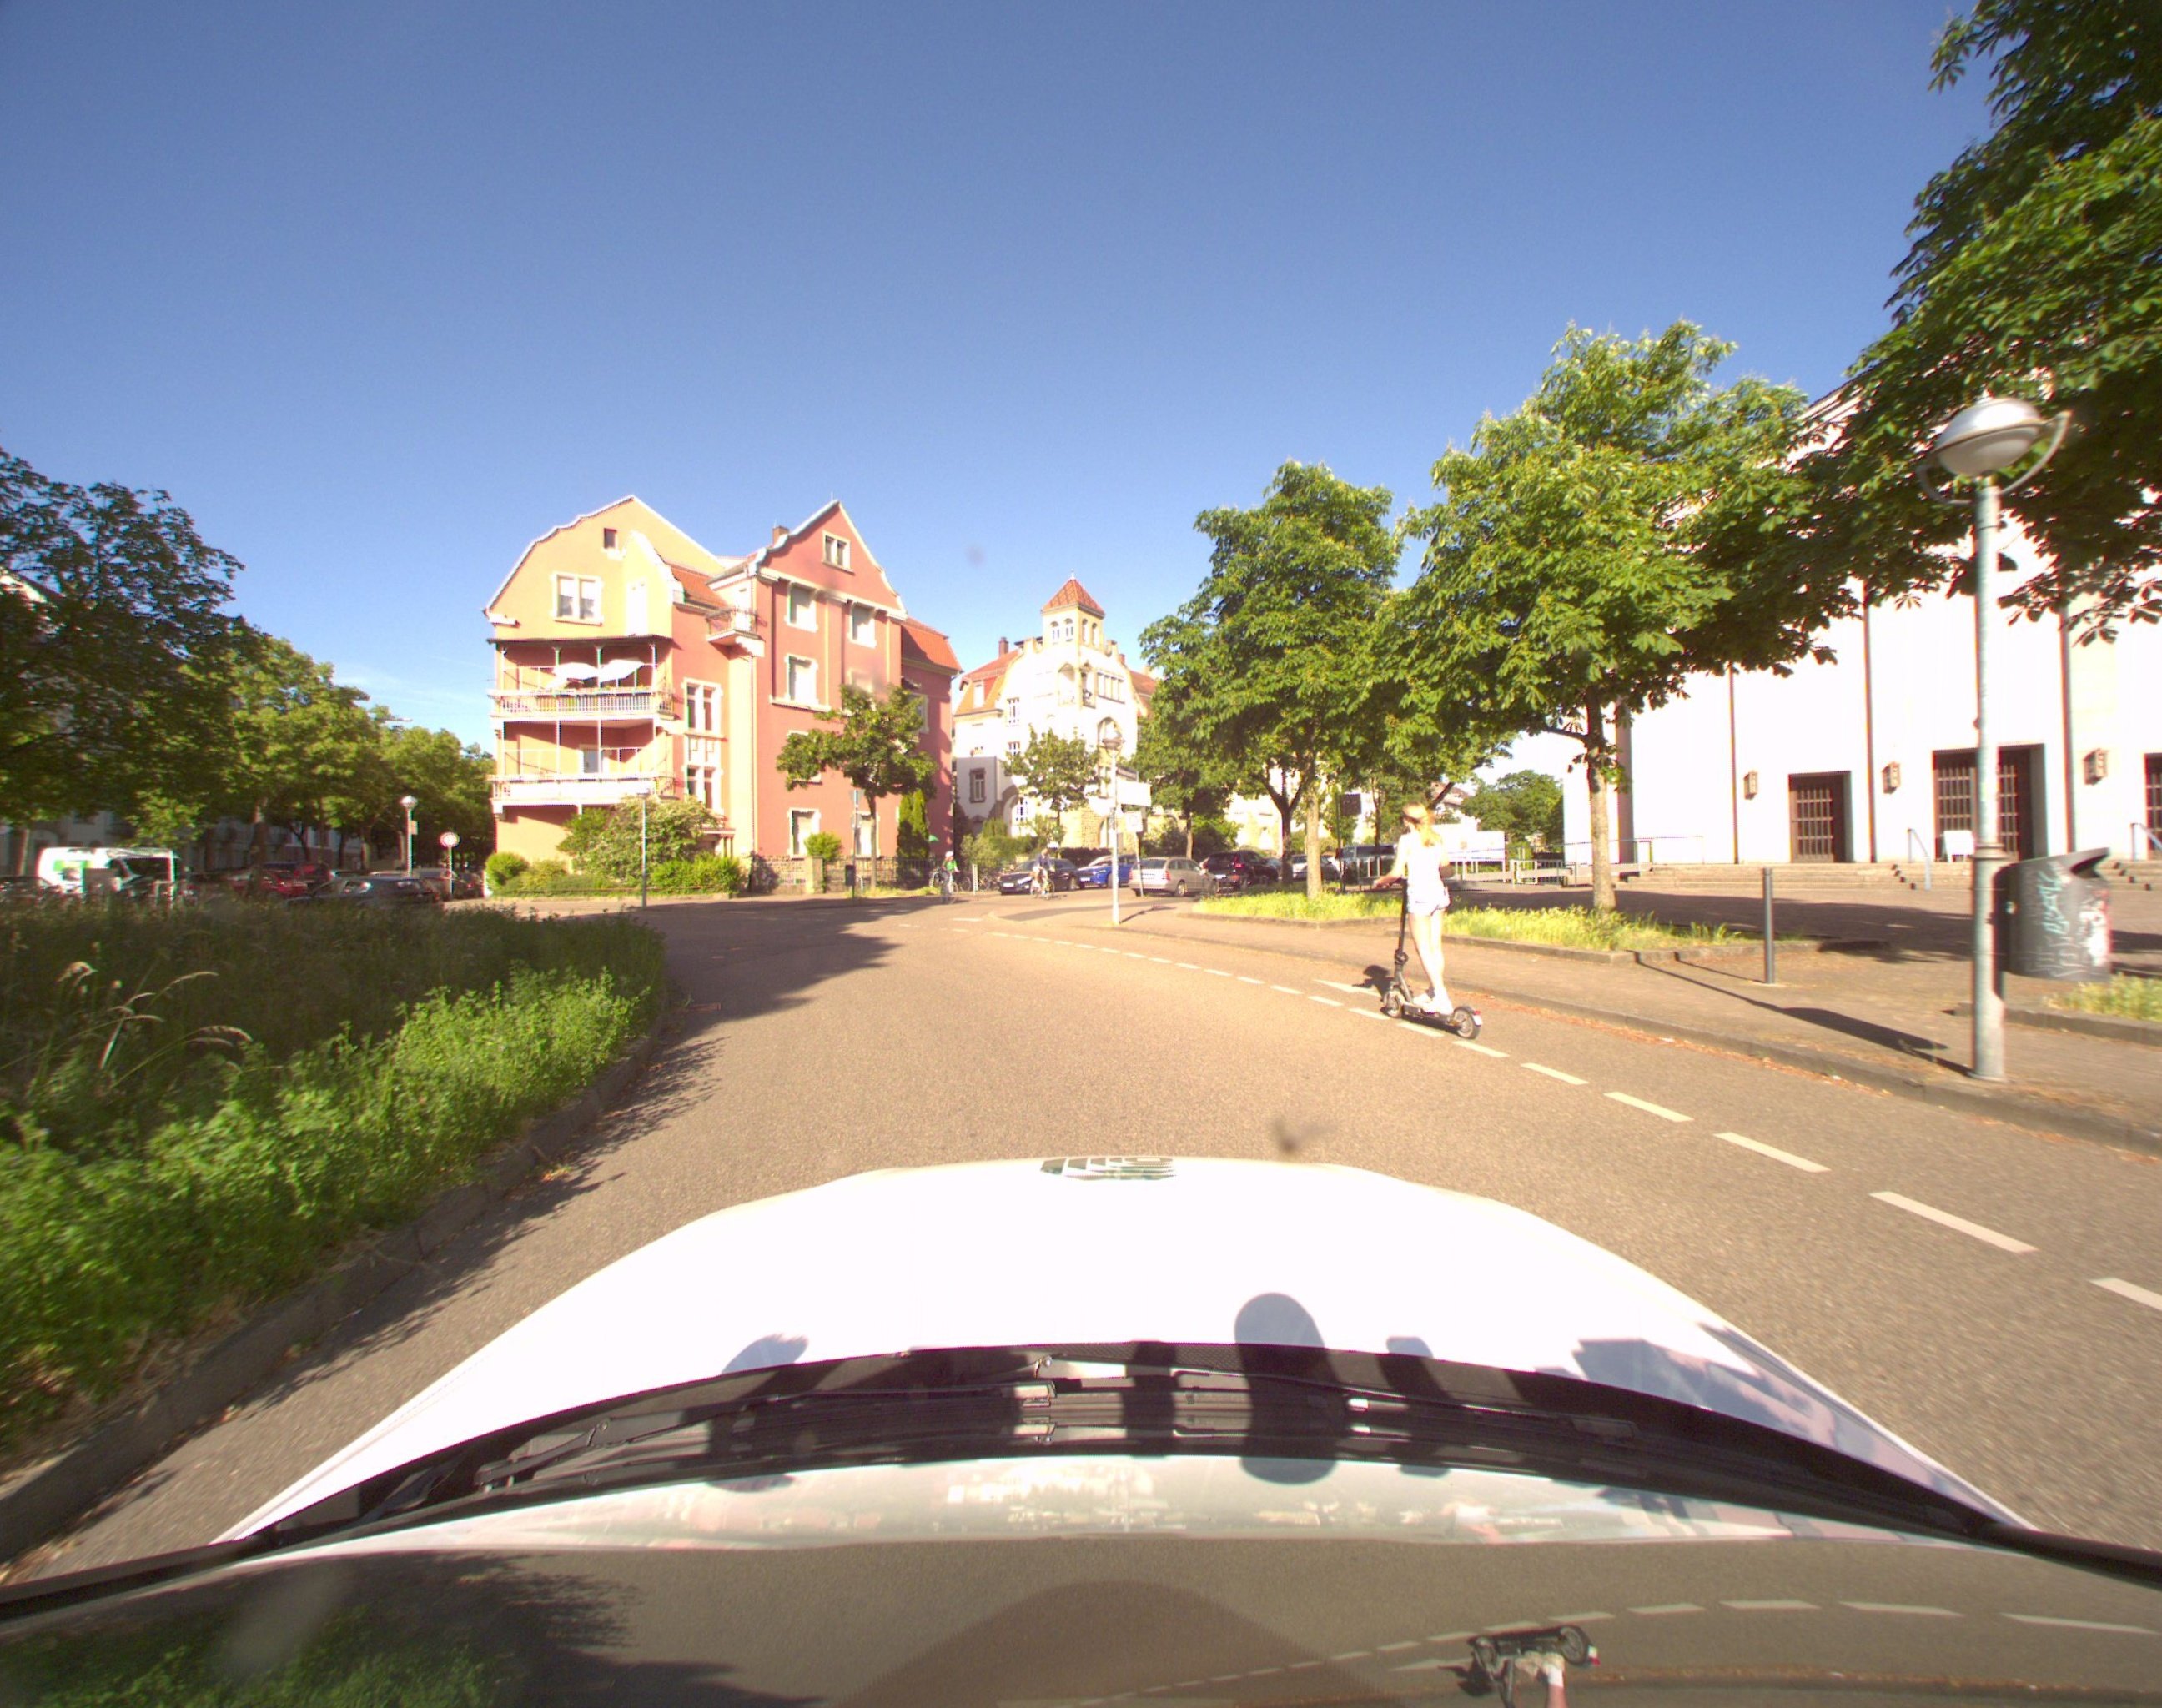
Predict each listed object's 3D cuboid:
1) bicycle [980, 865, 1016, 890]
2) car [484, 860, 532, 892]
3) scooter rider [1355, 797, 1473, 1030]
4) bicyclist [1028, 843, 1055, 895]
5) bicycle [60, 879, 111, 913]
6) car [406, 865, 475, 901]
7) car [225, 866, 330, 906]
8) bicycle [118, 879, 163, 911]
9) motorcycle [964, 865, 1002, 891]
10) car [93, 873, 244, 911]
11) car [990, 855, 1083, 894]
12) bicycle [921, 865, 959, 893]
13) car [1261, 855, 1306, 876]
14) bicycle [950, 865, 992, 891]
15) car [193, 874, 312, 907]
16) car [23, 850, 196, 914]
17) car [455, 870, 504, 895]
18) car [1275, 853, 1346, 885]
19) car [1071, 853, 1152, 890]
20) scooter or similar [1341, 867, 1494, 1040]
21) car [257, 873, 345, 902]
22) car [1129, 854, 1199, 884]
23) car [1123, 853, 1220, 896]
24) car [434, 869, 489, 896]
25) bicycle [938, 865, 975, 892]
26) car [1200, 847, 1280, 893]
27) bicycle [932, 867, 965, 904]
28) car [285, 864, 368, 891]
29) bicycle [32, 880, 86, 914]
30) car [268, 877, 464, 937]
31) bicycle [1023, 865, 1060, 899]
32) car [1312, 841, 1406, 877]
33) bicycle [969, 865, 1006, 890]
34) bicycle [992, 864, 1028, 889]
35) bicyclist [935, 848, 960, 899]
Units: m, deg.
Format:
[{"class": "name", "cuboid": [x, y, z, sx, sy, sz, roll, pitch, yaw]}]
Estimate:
[{"class": "bicycle", "cuboid": [-3.870, 1.061, 37.713, 1.705, 1.107, 0.504, 1, 1, 32]}, {"class": "car", "cuboid": [-37.980, 1.441, 54.069, 1.946, 2.044, 4.238, 1, -1, -26]}, {"class": "scooter rider", "cuboid": [2.754, 0.464, 6.777, 0.624, 1.832, 0.628, -1, -1, -14]}, {"class": "bicyclist", "cuboid": [-1.333, 0.511, 27.565, 0.647, 1.714, 0.717, -1, -1, -25]}, {"class": "bicycle", "cuboid": [-34.225, 1.433, 28.017, 0.420, 1.086, 1.515, 1, 0, -23]}, {"class": "car", "cuboid": [-30.022, 1.324, 38.285, 1.691, 1.562, 4.257, 1, -1, -26]}, {"class": "car", "cuboid": [-38.614, 1.516, 39.203, 3.359, 1.865, 1.689, 0, -1, 2]}, {"class": "bicycle", "cuboid": [-34.068, 1.469, 29.507, 0.420, 1.086, 1.515, 1, 0, -23]}, {"class": "motorcycle", "cuboid": [-4.390, 1.065, 36.567, 1.705, 1.107, 0.504, 1, 1, 28]}, {"class": "car", "cuboid": [-36.016, 1.483, 32.212, 3.899, 1.447, 1.687, 0, -1, -2]}, {"class": "car", "cuboid": [-1.843, 0.853, 35.045, 1.786, 1.483, 4.366, -4, -2, 30]}, {"class": "bicycle", "cuboid": [-6.022, 1.035, 34.639, 1.704, 1.115, 0.549, 1, 1, 36]}, {"class": "car", "cuboid": [15.234, 0.846, 61.079, 1.786, 1.397, 4.427, -4, -2, 35]}, {"class": "bicycle", "cuboid": [-4.862, 1.041, 36.058, 1.809, 1.107, 0.503, 1, 1, 20]}, {"class": "car", "cuboid": [-37.532, 1.626, 36.989, 3.376, 1.447, 1.681, 0, -1, -13]}, {"class": "car", "cuboid": [-41.534, 1.141, 34.851, 6.310, 2.600, 2.111, 0, -1, 14]}, {"class": "car", "cuboid": [-34.679, 1.607, 47.028, 1.691, 1.382, 3.252, 1, -1, -27]}, {"class": "car", "cuboid": [11.184, 0.683, 39.504, 1.786, 1.474, 4.366, -1, 0, 38]}, {"class": "car", "cuboid": [1.544, 0.828, 39.655, 1.786, 1.562, 4.427, -4, -2, 35]}, {"class": "scooter or similar", "cuboid": [2.756, 0.764, 6.775, 0.631, 1.283, 1.101, -1, 0, -14]}, {"class": "car", "cuboid": [-41.247, 1.748, 43.073, 3.351, 1.470, 1.693, 0, -1, 11]}, {"class": "car", "cuboid": [4.551, 0.793, 43.997, 1.786, 1.450, 4.427, -4, -2, 35]}, {"class": "car", "cuboid": [3.296, 0.671, 28.936, 1.786, 1.416, 4.366, 0, 0, 31]}, {"class": "car", "cuboid": [-32.394, 1.461, 42.653, 1.691, 1.382, 3.252, 1, -1, -27]}, {"class": "bicycle", "cuboid": [-5.420, 1.047, 35.431, 1.704, 1.115, 0.549, 1, 1, 36]}, {"class": "car", "cuboid": [6.489, 0.591, 32.873, 1.786, 1.728, 4.366, -1, 0, 31]}, {"class": "bicycle", "cuboid": [-4.289, 1.002, 26.289, 0.596, 1.107, 1.849, -1, -1, -23]}, {"class": "car", "cuboid": [-41.819, 1.275, 45.165, 3.351, 1.470, 1.693, 0, -1, 11]}, {"class": "bicycle", "cuboid": [-34.543, 1.435, 27.545, 0.420, 1.089, 1.561, 1, 0, -23]}, {"class": "car", "cuboid": [-18.857, 1.361, 21.557, 3.960, 1.419, 1.877, -1, 1, 12]}, {"class": "bicycle", "cuboid": [-1.350, 0.936, 27.605, 0.647, 1.107, 1.702, -1, -1, -25]}, {"class": "car", "cuboid": [15.731, 0.285, 46.144, 4.718, 2.001, 1.821, 0, 0, 31]}, {"class": "bicycle", "cuboid": [-4.261, 1.065, 37.131, 1.705, 1.107, 0.504, 1, 1, 28]}, {"class": "bicycle", "cuboid": [-3.350, 1.042, 38.447, 1.705, 1.107, 0.519, 1, 1, 32]}, {"class": "bicyclist", "cuboid": [-4.314, 0.627, 26.317, 0.596, 1.581, 0.798, -1, -1, -23]}]
